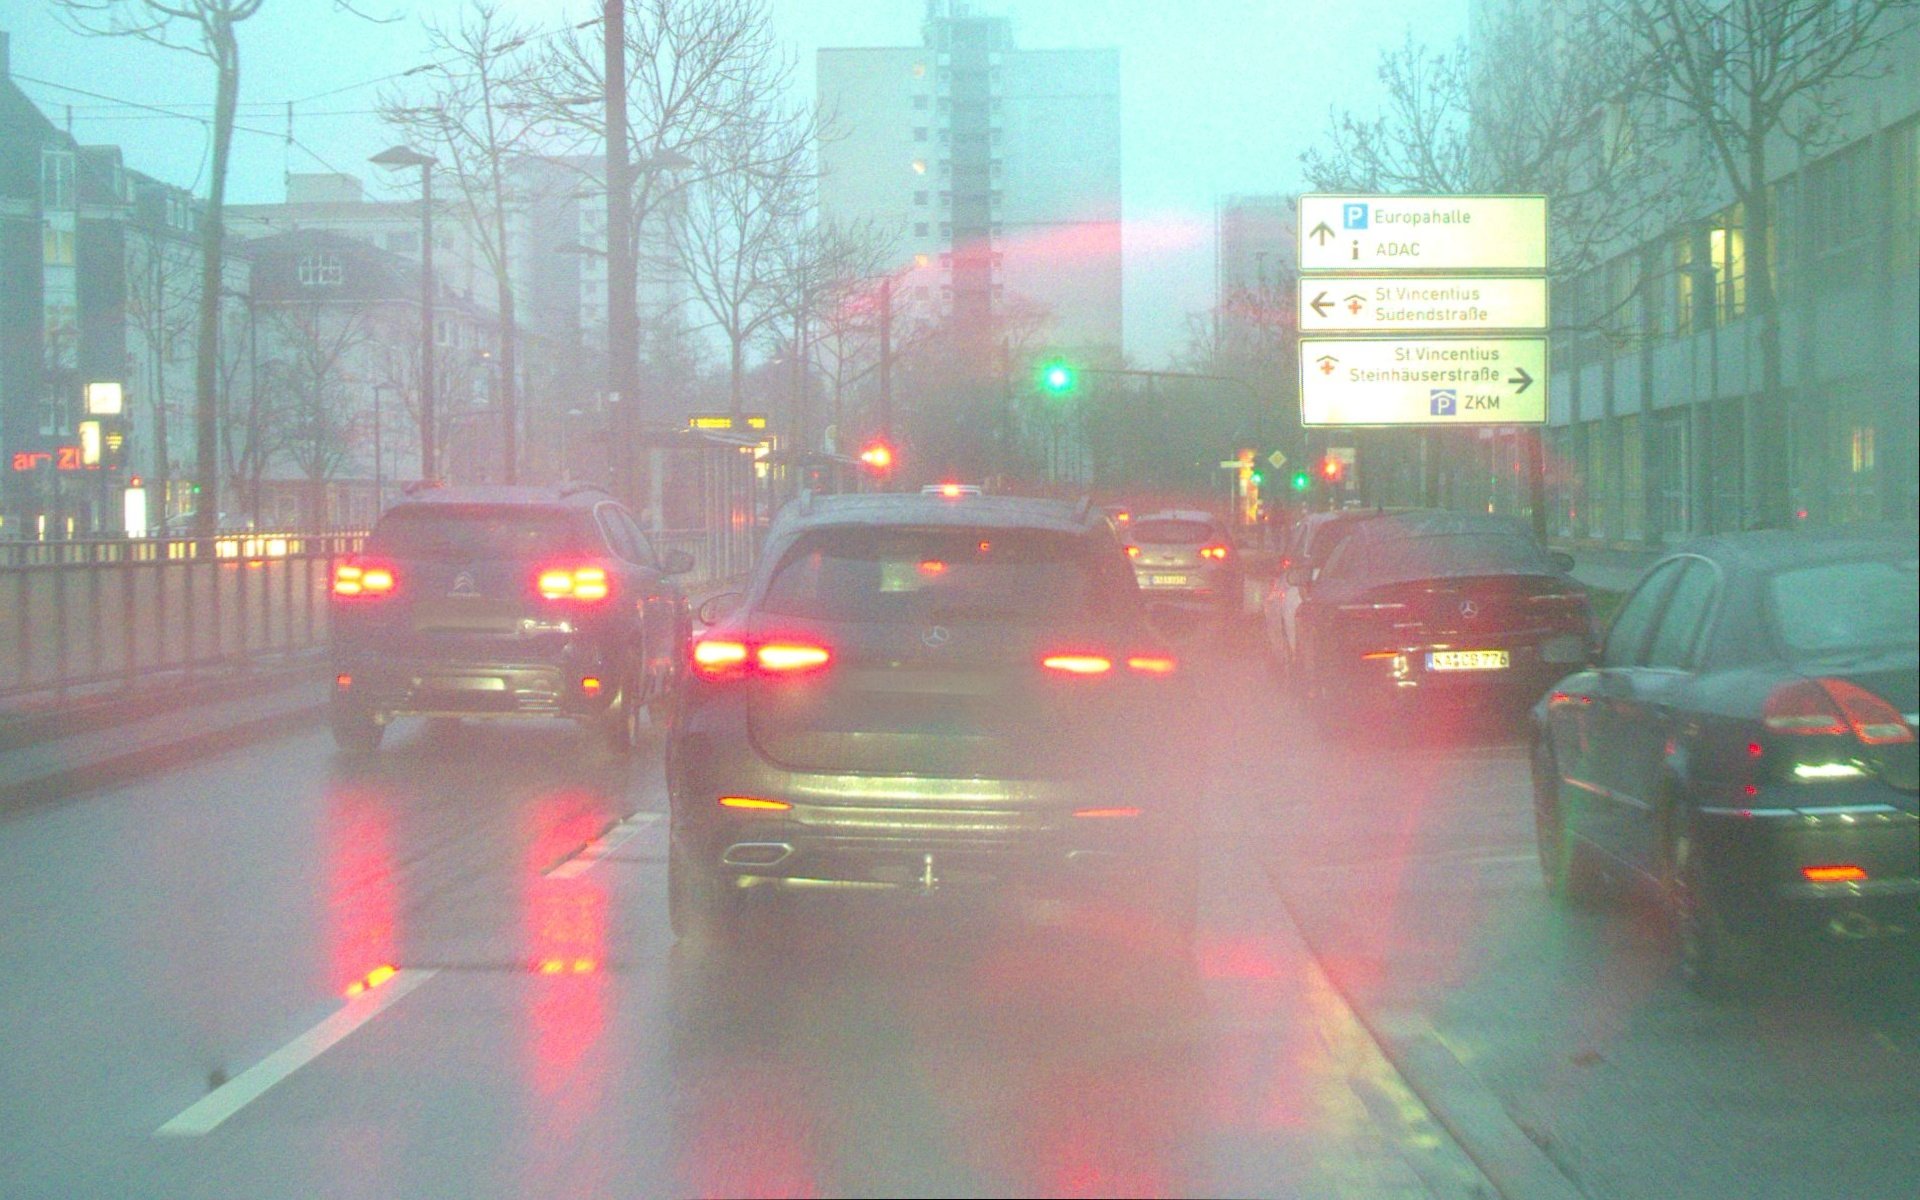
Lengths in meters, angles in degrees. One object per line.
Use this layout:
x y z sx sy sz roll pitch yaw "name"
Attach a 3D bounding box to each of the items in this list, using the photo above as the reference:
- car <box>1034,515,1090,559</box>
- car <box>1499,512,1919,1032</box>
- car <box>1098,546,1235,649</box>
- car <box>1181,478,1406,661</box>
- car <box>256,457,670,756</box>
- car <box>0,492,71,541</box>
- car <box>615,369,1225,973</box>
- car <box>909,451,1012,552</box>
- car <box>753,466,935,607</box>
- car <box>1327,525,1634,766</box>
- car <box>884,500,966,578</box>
3.615 -2.202 121.034 1.771 1.497 3.368 1 1 4 "car"
2.925 0.465 11.673 1.596 1.435 4.228 1 1 1 "car"
3.012 -0.070 50.782 1.887 1.349 4.102 1 2 2 "car"
2.728 -0.301 28.724 1.591 1.389 3.487 -2 2 2 "car"
-3.098 0.011 22.309 1.993 1.706 4.325 1 1 0 "car"
-27.471 -2.395 98.074 3.797 1.362 1.699 1 1 -2 "car"
-0.161 0.213 13.482 1.993 1.969 4.068 1 1 -1 "car"
0.037 -1.772 62.663 1.794 1.744 3.625 1 1 1 "car"
-1.395 -0.779 42.931 1.993 1.636 4.022 1 1 2 "car"
3.447 0.236 23.411 1.754 1.398 4.249 1 2 5 "car"
-0.914 -1.668 92.977 1.952 2.026 4.883 1 2 2 "car"
